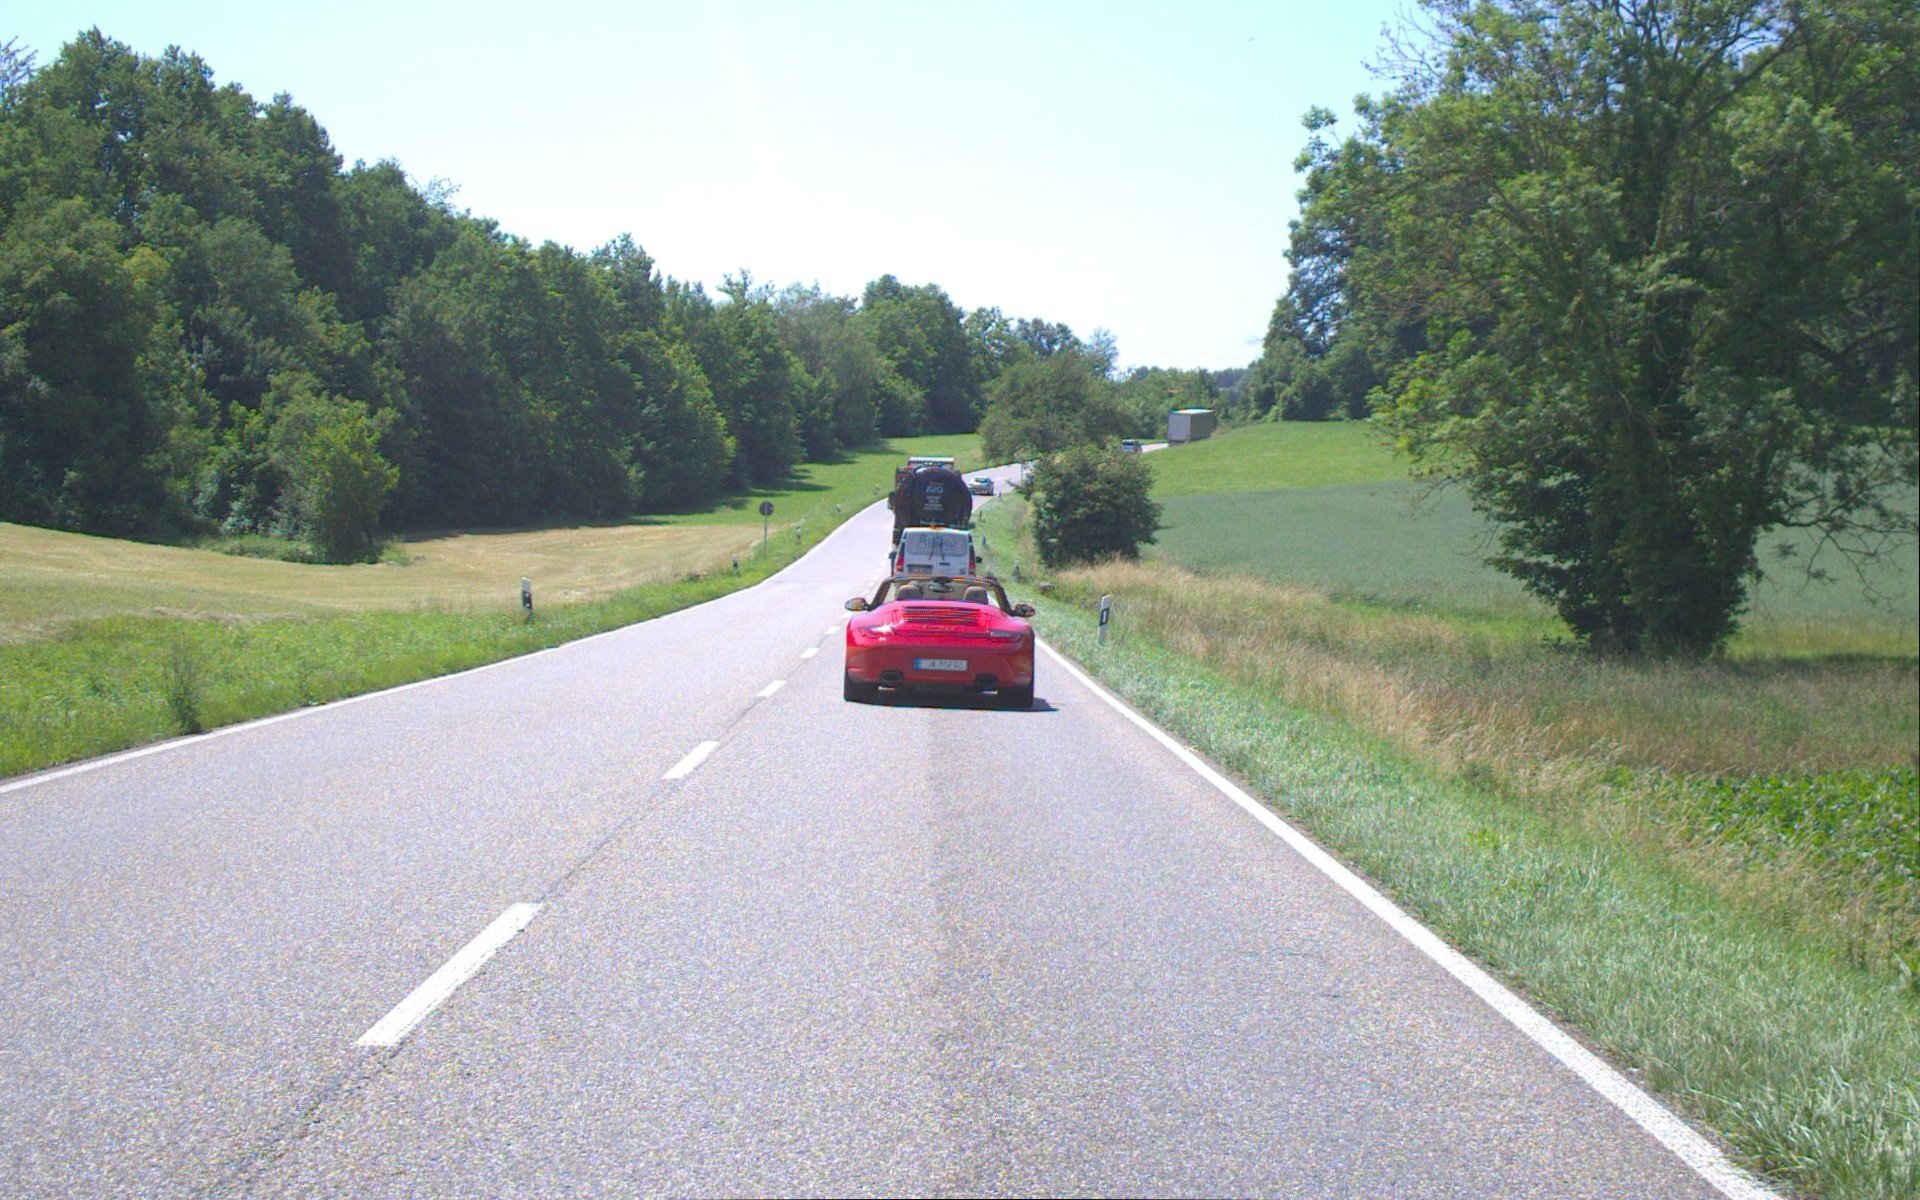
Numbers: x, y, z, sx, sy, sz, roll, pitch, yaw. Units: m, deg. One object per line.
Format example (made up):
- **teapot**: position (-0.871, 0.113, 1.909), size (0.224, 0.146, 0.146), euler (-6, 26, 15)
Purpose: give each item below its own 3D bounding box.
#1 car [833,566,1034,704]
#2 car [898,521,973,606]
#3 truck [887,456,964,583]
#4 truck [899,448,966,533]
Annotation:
- **car**: position (-0.278, 0.313, 34.618), size (1.882, 1.251, 4.010), euler (1, 1, -1)
- **car**: position (-0.547, -0.866, 80.173), size (1.678, 1.894, 4.009), euler (-1, 1, 0)
- **truck**: position (-1.243, -2.823, 116.269), size (2.404, 4.035, 12.552), euler (0, 2, -1)
- **truck**: position (-1.556, -6.451, 200.696), size (3.725, 4.644, 12.033), euler (0, 3, 0)
